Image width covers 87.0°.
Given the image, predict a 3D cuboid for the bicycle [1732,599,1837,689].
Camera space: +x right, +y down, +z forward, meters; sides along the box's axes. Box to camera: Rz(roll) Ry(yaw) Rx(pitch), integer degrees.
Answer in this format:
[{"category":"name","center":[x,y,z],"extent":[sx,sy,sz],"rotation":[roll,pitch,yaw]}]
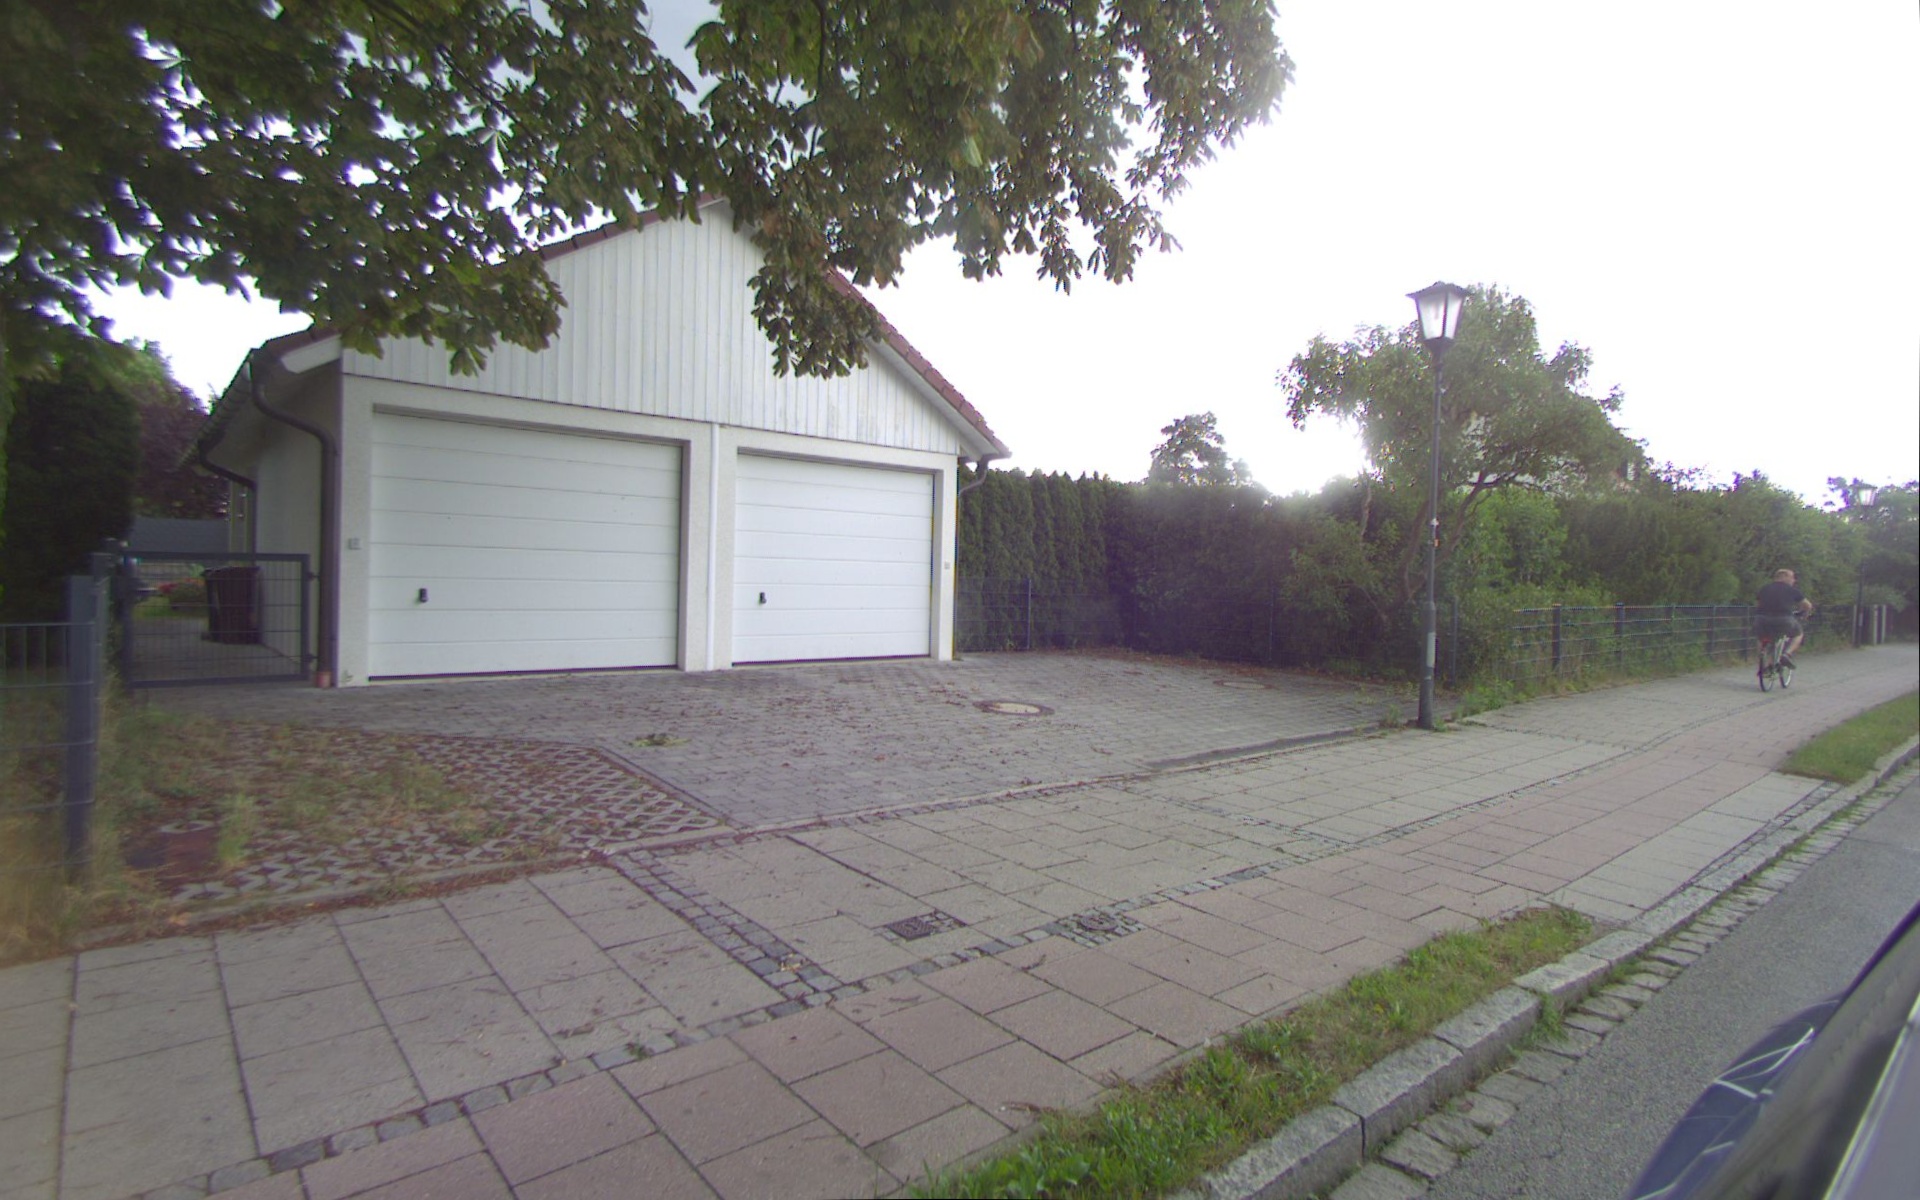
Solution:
[{"category":"bicycle","center":[11.545,0.575,14.159],"extent":[1.812,1.157,0.766],"rotation":[0,1,-39]}]

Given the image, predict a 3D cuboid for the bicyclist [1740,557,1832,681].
[{"category":"bicyclist","center":[11.569,0.248,14.173],"extent":[0.874,1.652,0.739],"rotation":[0,3,-38]}]
